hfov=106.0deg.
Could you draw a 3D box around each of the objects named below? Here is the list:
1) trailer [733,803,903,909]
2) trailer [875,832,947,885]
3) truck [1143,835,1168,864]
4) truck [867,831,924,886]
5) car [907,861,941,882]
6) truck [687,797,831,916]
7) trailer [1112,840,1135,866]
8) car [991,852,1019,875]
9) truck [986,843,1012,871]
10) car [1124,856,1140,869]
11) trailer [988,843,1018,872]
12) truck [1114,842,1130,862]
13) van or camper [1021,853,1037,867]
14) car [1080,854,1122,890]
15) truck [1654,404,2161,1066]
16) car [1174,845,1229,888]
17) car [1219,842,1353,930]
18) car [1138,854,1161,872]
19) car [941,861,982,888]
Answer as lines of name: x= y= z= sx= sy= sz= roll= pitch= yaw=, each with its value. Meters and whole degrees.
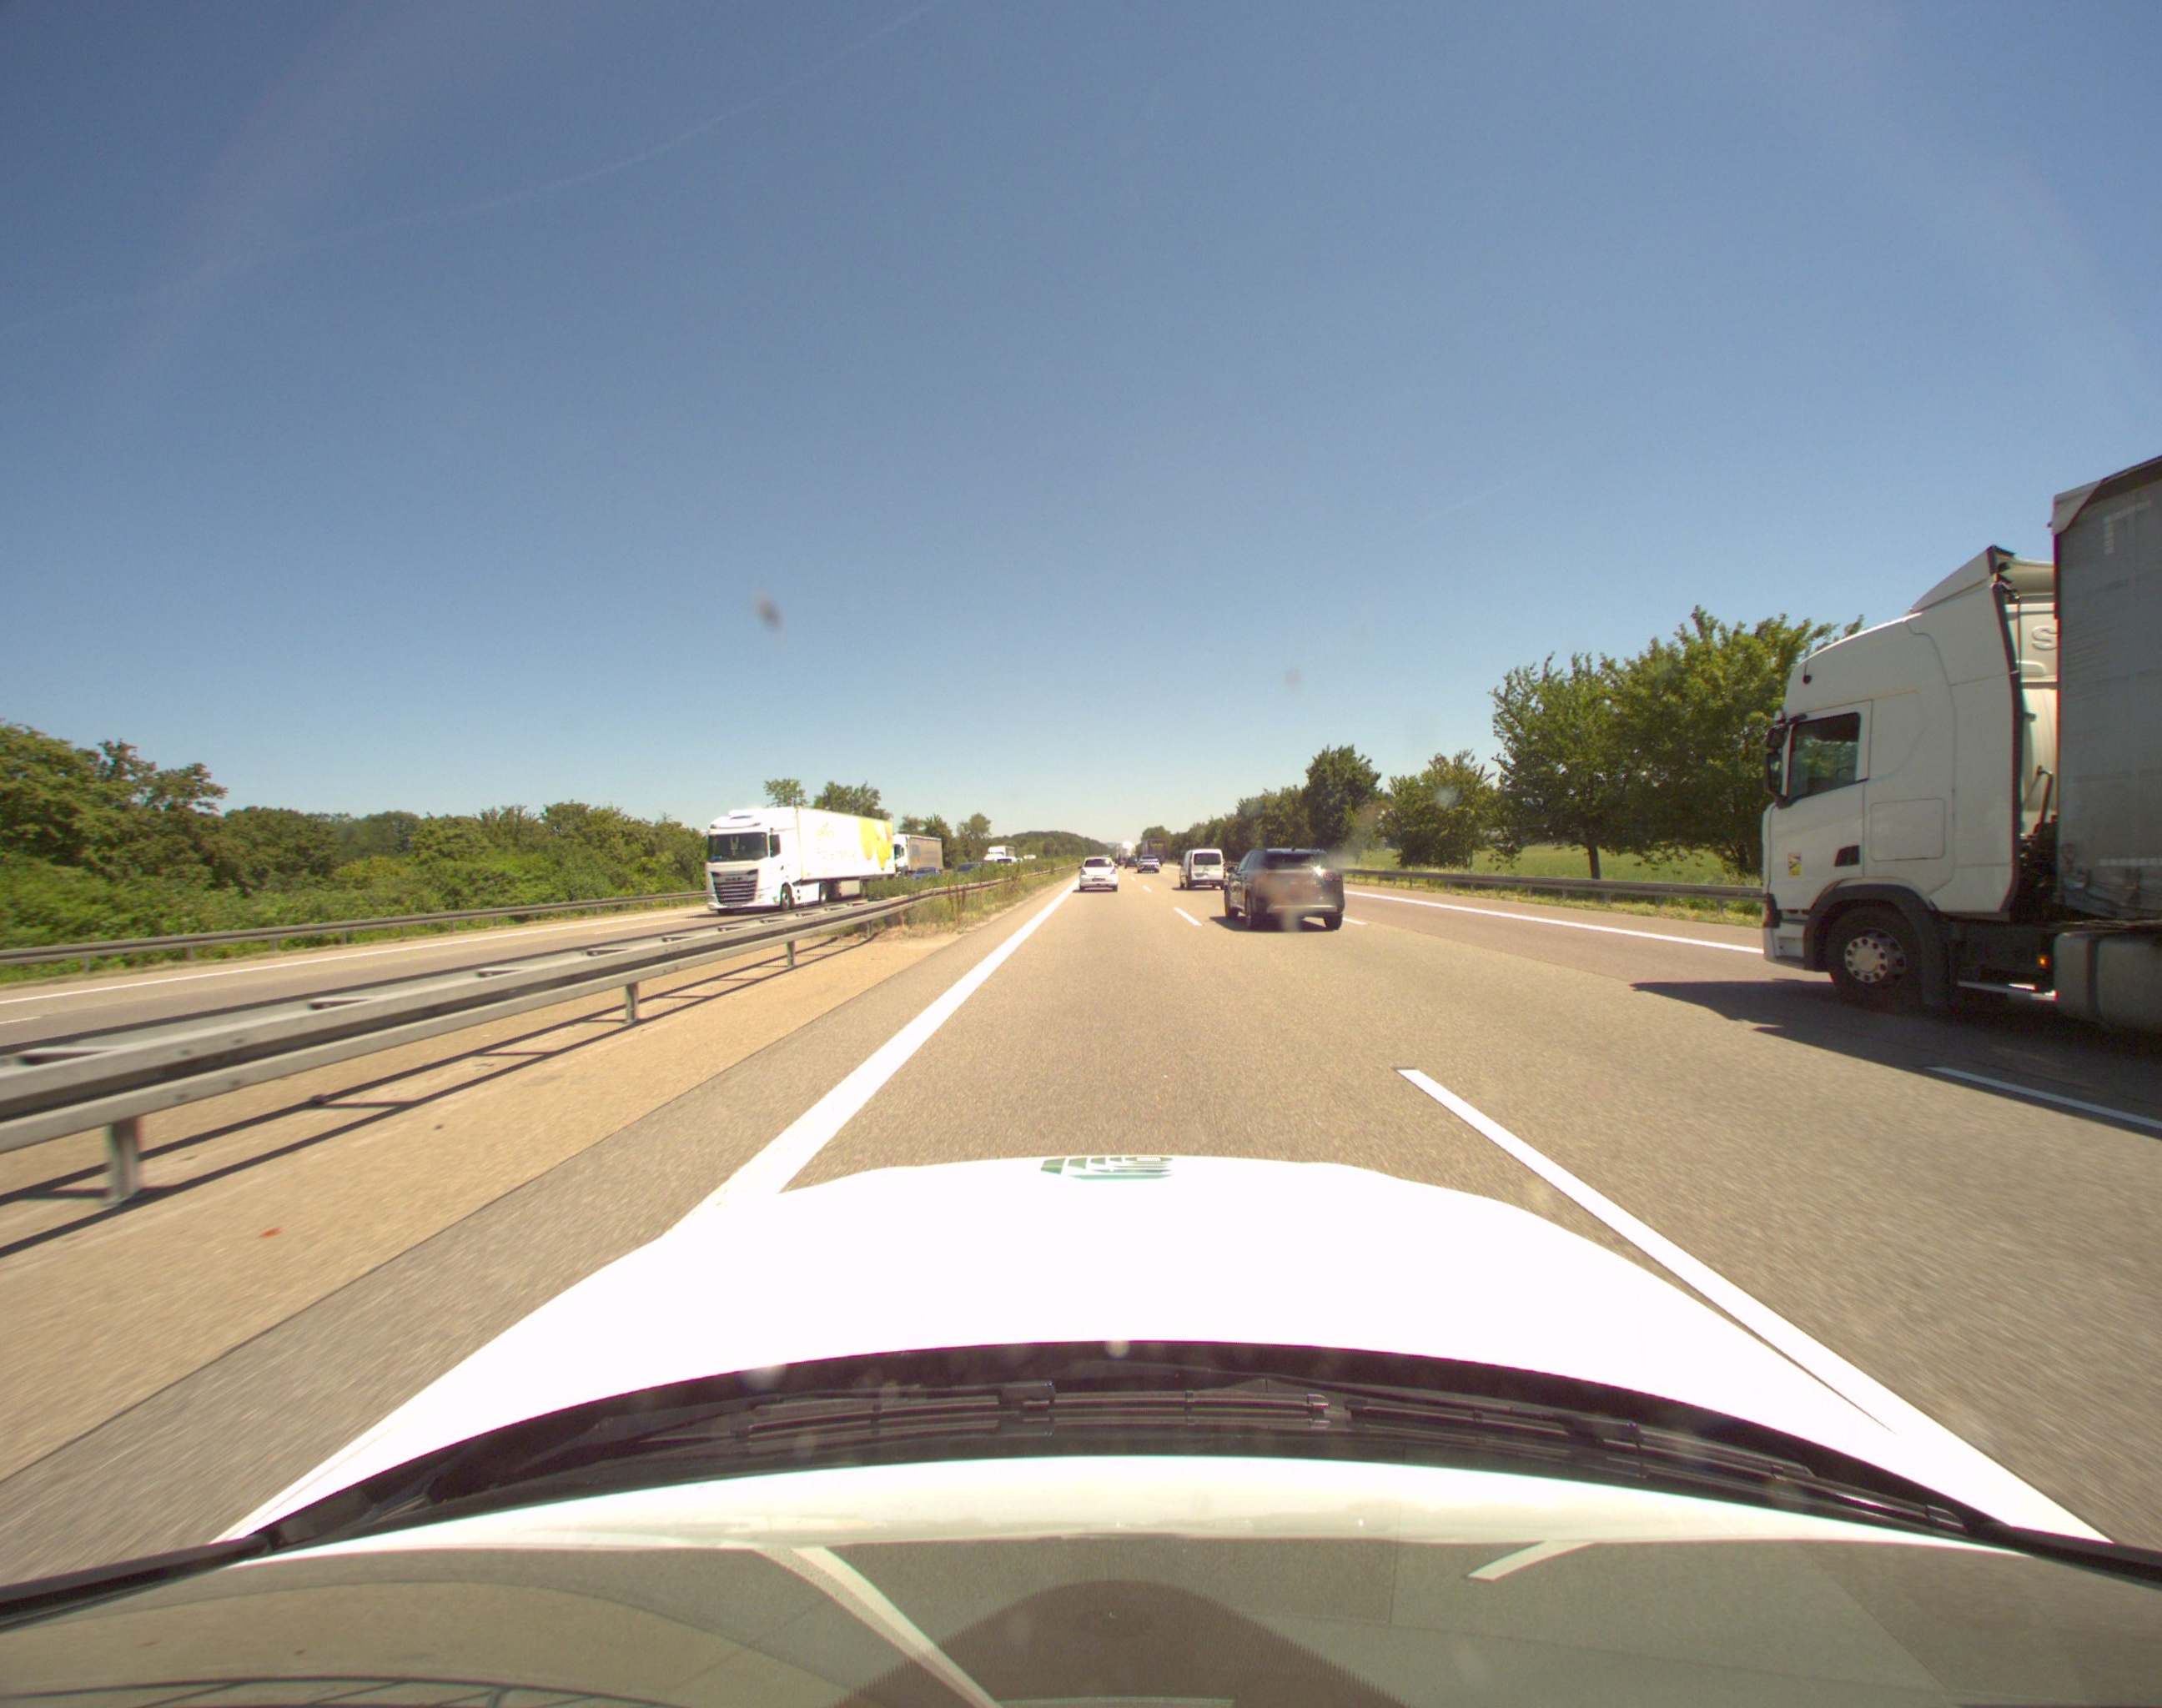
trailer: x=-12.026 y=0.103 z=39.514 sx=2.729 sy=4.085 sz=14.357 roll=-3 pitch=0 yaw=3
trailer: x=-14.856 y=0.413 z=72.770 sx=2.747 sy=4.103 sz=14.059 roll=-4 pitch=0 yaw=2
truck: x=11.646 y=-0.631 z=128.398 sx=3.096 sy=4.139 sz=15.520 roll=0 pitch=0 yaw=3
truck: x=-15.071 y=0.386 z=66.498 sx=2.747 sy=4.103 sz=6.155 roll=-4 pitch=0 yaw=2
car: x=-11.390 y=1.246 z=59.286 sx=1.566 sy=1.386 sz=3.968 roll=-4 pitch=-1 yaw=1
truck: x=-12.412 y=0.084 z=32.093 sx=2.729 sy=4.085 sz=6.221 roll=-3 pitch=0 yaw=3
trailer: x=6.862 y=-0.132 z=133.295 sx=2.903 sy=4.069 sz=12.409 roll=0 pitch=0 yaw=-2
car: x=-6.908 y=0.849 z=74.590 sx=1.986 sy=2.031 sz=5.491 roll=0 pitch=0 yaw=1
truck: x=-12.890 y=0.539 z=128.243 sx=2.995 sy=4.212 sz=6.312 roll=-3 pitch=-2 yaw=2
car: x=6.109 y=1.017 z=98.469 sx=1.843 sy=1.523 sz=3.958 roll=0 pitch=0 yaw=2
trailer: x=-12.701 y=0.710 z=133.587 sx=2.966 sy=4.212 sz=13.739 roll=-3 pitch=-2 yaw=2
truck: x=9.137 y=-0.446 z=180.193 sx=3.381 sy=4.214 sz=12.090 roll=0 pitch=0 yaw=3
van or camper: x=-11.730 y=1.347 z=185.572 sx=2.839 sy=2.969 sz=7.449 roll=-4 pitch=0 yaw=1
car: x=0.897 y=0.781 z=36.756 sx=1.793 sy=1.552 sz=3.610 roll=0 pitch=0 yaw=1
truck: x=8.494 y=-0.773 z=6.633 sx=2.799 sy=4.304 sz=7.197 roll=0 pitch=0 yaw=2
car: x=5.490 y=0.558 z=37.639 sx=1.847 sy=1.863 sz=4.702 roll=0 pitch=0 yaw=0
car: x=4.329 y=0.632 z=17.970 sx=1.860 sy=1.675 sz=4.747 roll=0 pitch=0 yaw=1
car: x=6.173 y=0.776 z=73.607 sx=1.795 sy=1.603 sz=4.382 roll=0 pitch=0 yaw=2
car: x=-7.909 y=1.355 z=54.250 sx=1.953 sy=1.693 sz=4.802 roll=0 pitch=0 yaw=0
